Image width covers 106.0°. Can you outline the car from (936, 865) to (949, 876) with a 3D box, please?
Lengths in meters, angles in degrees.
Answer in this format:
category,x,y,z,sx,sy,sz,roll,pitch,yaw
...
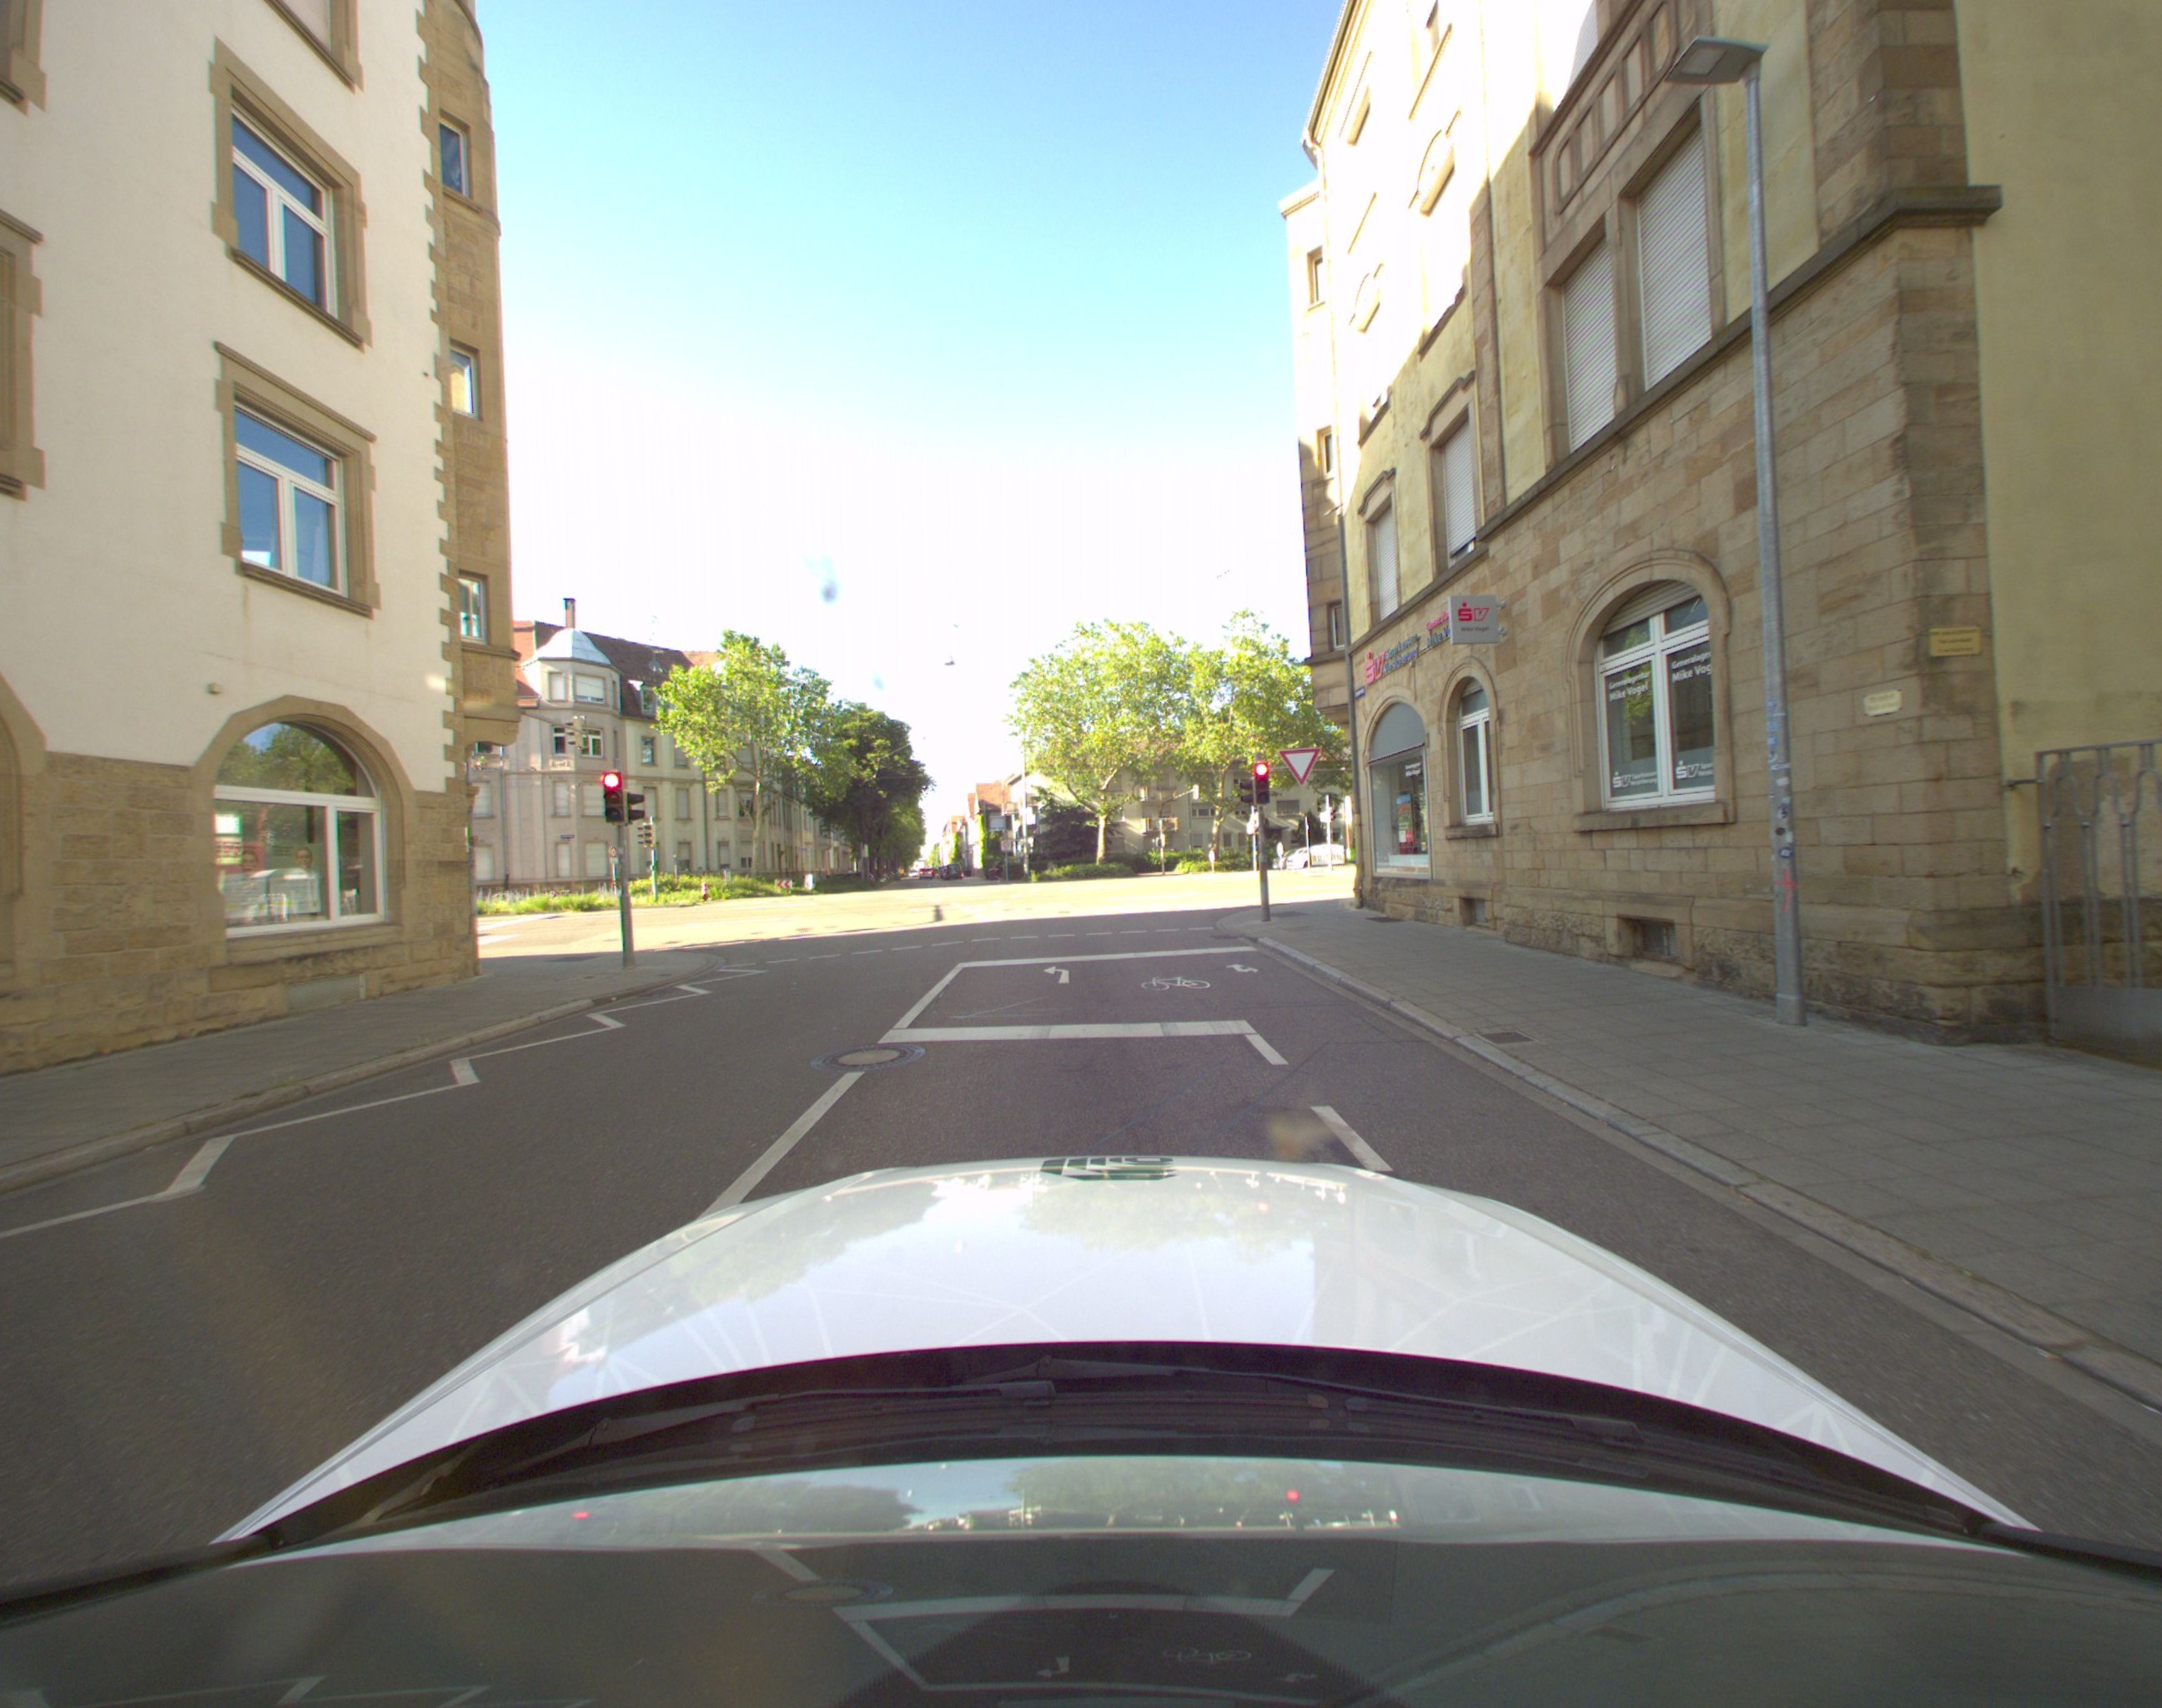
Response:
category,x,y,z,sx,sy,sz,roll,pitch,yaw
car,-25.541,3.061,149.613,1.997,1.832,3.980,-2,-1,-15

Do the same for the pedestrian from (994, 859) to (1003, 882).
category,x,y,z,sx,sy,sz,roll,pitch,yaw
pedestrian,-6.428,1.263,63.508,0.632,1.750,0.658,-2,-1,-3

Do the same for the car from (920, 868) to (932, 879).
category,x,y,z,sx,sy,sz,roll,pitch,yaw
car,-22.683,2.833,119.028,1.675,1.483,3.508,-2,-1,-11

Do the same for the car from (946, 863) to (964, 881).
category,x,y,z,sx,sy,sz,roll,pitch,yaw
car,-15.162,2.182,98.019,1.993,2.013,3.988,-3,0,-8

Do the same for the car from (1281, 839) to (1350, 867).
category,x,y,z,sx,sy,sz,roll,pitch,yaw
car,14.282,-0.075,49.627,3.799,1.472,1.619,-3,0,-20

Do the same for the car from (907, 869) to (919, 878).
category,x,y,z,sx,sy,sz,roll,pitch,yaw
car,-31.042,3.640,150.513,1.996,1.445,3.982,-3,0,-13

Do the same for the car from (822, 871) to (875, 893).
category,x,y,z,sx,sy,sz,roll,pitch,yaw
car,-18.808,2.224,65.938,3.998,1.486,1.671,-3,0,-18

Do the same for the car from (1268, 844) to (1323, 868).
category,x,y,z,sx,sy,sz,roll,pitch,yaw
car,14.860,0.132,56.355,3.392,1.487,1.514,-3,0,-21
